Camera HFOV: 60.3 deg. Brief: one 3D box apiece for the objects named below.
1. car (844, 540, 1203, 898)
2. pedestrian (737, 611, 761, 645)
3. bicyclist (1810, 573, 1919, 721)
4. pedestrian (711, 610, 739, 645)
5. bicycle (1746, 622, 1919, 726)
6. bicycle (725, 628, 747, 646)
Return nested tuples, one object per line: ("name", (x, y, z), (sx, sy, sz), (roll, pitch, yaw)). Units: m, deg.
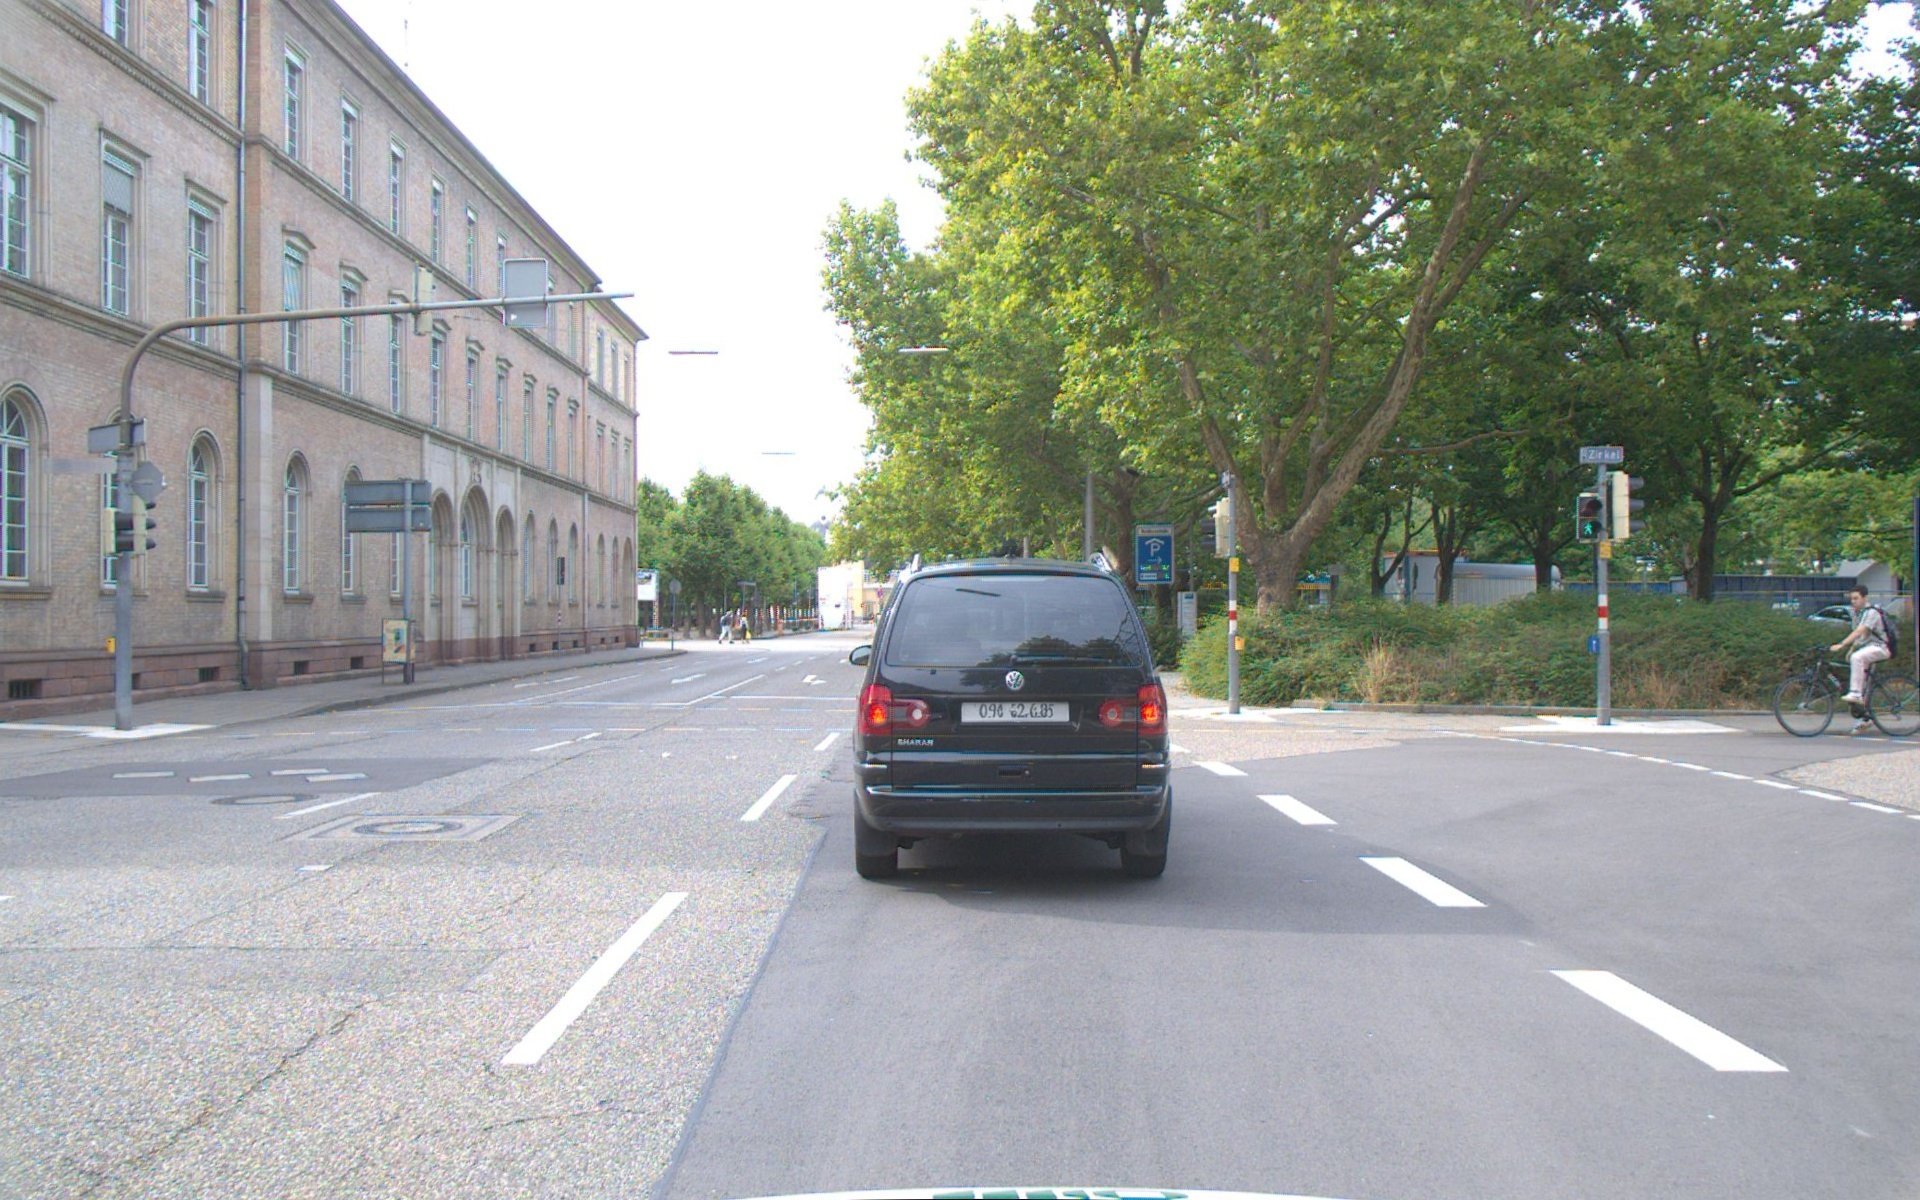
("car", (0.257, 0.596, 10.198), (1.757, 1.738, 4.129), (0, 0, -2))
("pedestrian", (-10.825, 1.431, 84.879), (0.877, 1.670, 0.853), (1, -1, 17))
("bicyclist", (10.684, 0.552, 19.533), (0.811, 1.708, 0.916), (0, -2, 3))
("pedestrian", (-12.073, 1.407, 85.076), (0.940, 1.772, 1.256), (1, -1, 17))
("bicycle", (10.608, 0.862, 19.522), (2.197, 1.193, 0.916), (0, -2, 3))
("bicycle", (-14.513, 2.394, 107.245), (0.937, 1.129, 2.566), (2, 0, -18))
